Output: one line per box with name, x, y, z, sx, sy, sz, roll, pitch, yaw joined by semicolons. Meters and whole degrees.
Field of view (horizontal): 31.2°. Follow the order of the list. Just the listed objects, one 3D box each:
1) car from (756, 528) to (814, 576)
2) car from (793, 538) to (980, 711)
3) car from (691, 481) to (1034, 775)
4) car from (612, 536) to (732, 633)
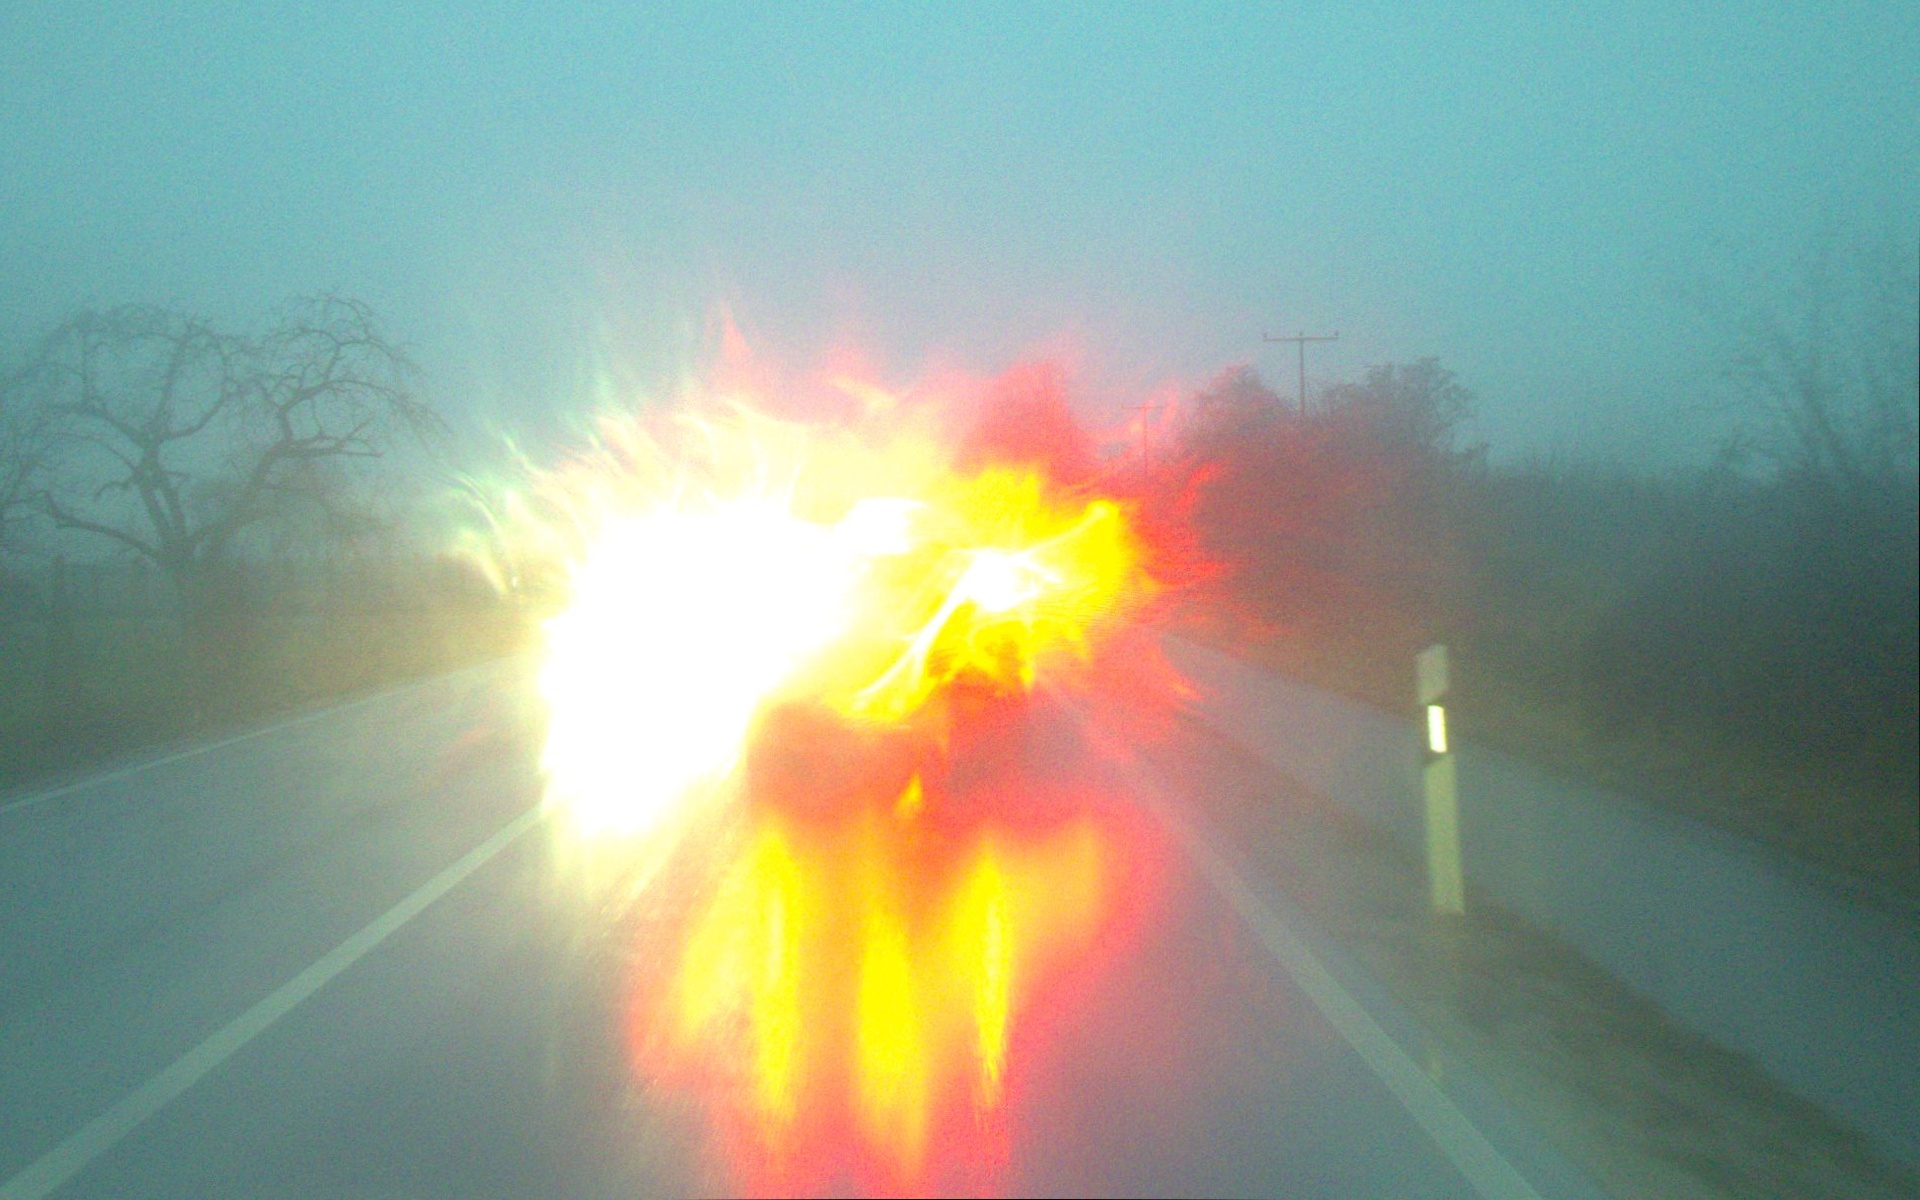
car;-5.910;-1.636;116.318;1.761;1.550;4.000;-2;1;-1
car;-0.806;0.238;39.027;1.993;1.843;4.000;1;1;0
car;-0.628;0.123;23.710;2.120;1.813;4.980;0;1;-1
car;-4.913;-0.294;59.137;1.855;1.512;4.517;-2;1;-3
